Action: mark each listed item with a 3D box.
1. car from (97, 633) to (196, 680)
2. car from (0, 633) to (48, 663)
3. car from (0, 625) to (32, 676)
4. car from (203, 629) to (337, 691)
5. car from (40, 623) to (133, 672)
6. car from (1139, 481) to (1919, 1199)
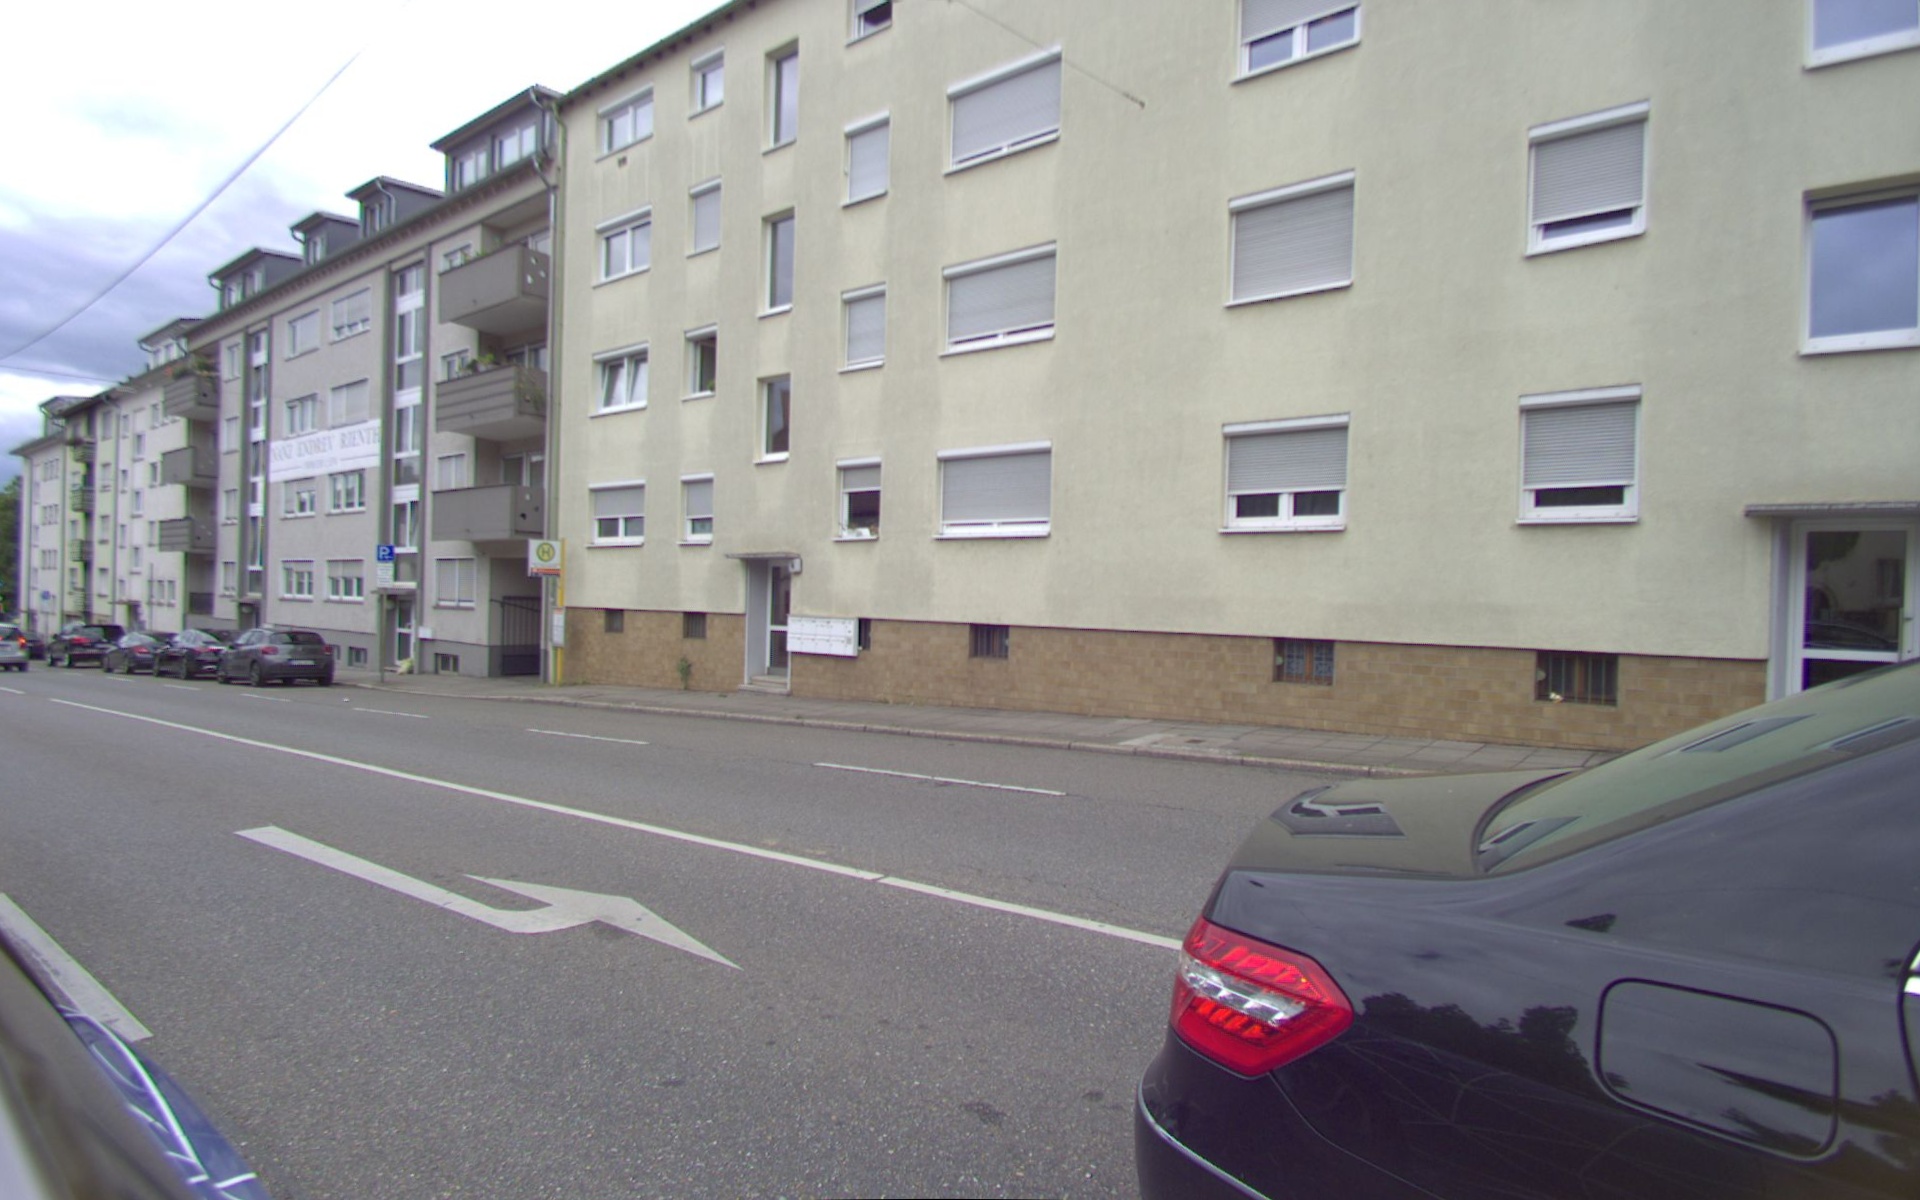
[{"bbox_3d":[-26.451,1.795,32.869,4.305,1.416,1.749,-1,-3,41],"label":"car"},{"bbox_3d":[-46.420,2.336,49.702,4.305,1.391,1.851,-1,-4,41],"label":"car"},{"bbox_3d":[-32.416,1.632,33.610,3.995,1.630,1.692,-1,-5,39],"label":"car"},{"bbox_3d":[-17.813,1.515,26.091,3.797,1.447,1.751,-1,-4,39],"label":"car"},{"bbox_3d":[-33.567,1.808,38.867,4.302,1.767,1.852,-1,-4,39],"label":"car"},{"bbox_3d":[2.503,0.605,0.707,4.444,1.465,1.729,-1,-1,41],"label":"car"}]
